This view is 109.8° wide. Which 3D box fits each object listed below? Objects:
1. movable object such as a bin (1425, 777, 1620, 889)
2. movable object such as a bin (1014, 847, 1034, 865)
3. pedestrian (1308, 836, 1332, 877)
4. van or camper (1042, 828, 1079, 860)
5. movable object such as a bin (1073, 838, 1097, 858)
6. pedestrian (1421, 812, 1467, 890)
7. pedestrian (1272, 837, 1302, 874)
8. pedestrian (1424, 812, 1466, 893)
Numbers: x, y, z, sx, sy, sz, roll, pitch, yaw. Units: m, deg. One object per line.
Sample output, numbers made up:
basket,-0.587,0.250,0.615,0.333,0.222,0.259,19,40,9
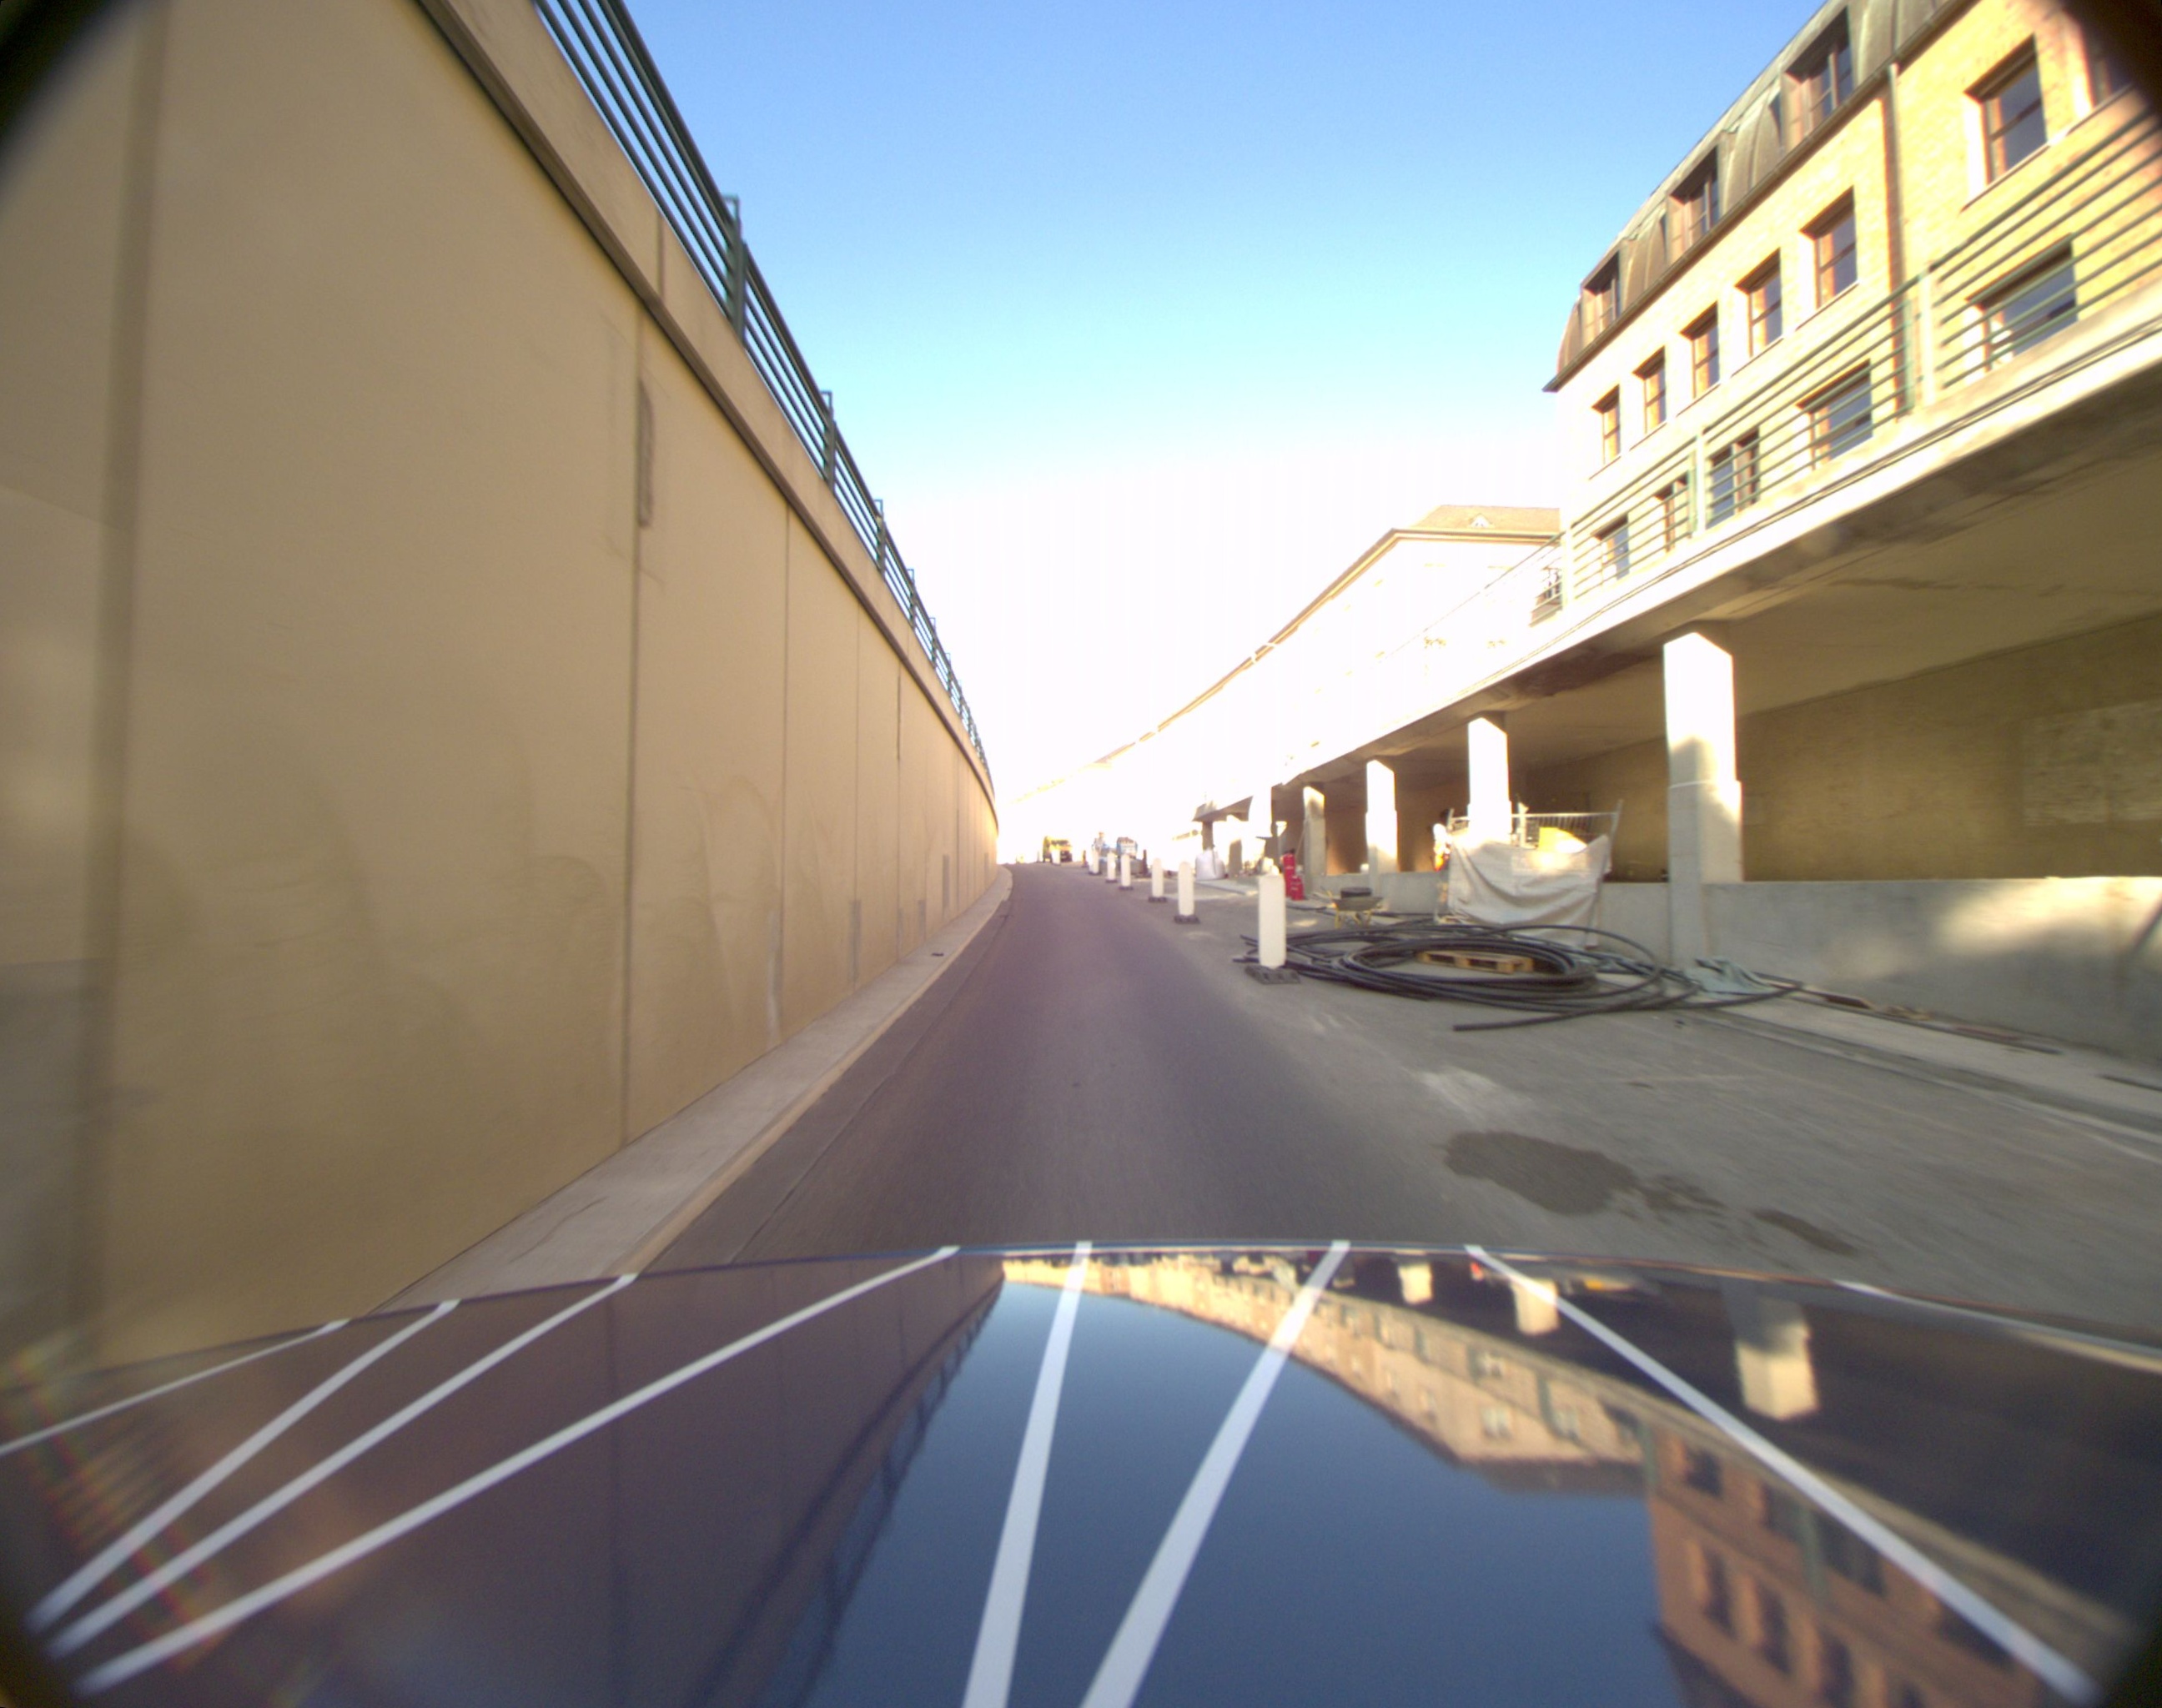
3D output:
movable object such as a bin,8.648,-0.390,15.215,1.891,1.975,3.157,-1,1,-5
movable object such as a bin,-8.486,0.284,112.796,1.798,2.437,4.530,1,-2,-20
pedestrian,9.140,0.088,29.110,0.651,1.571,0.630,-1,2,-12
van or camper,-1.914,-0.885,67.950,2.201,2.597,6.817,-3,1,-10
movable object such as a bin,0.483,-0.708,96.534,2.107,2.380,4.304,1,-1,-12
pedestrian,8.719,-0.075,18.257,0.706,1.804,0.709,-2,1,-5
pedestrian,8.014,0.050,29.581,0.874,1.390,0.782,-1,2,-12
pedestrian,8.287,-0.045,17.333,0.658,1.794,0.624,-2,1,5
